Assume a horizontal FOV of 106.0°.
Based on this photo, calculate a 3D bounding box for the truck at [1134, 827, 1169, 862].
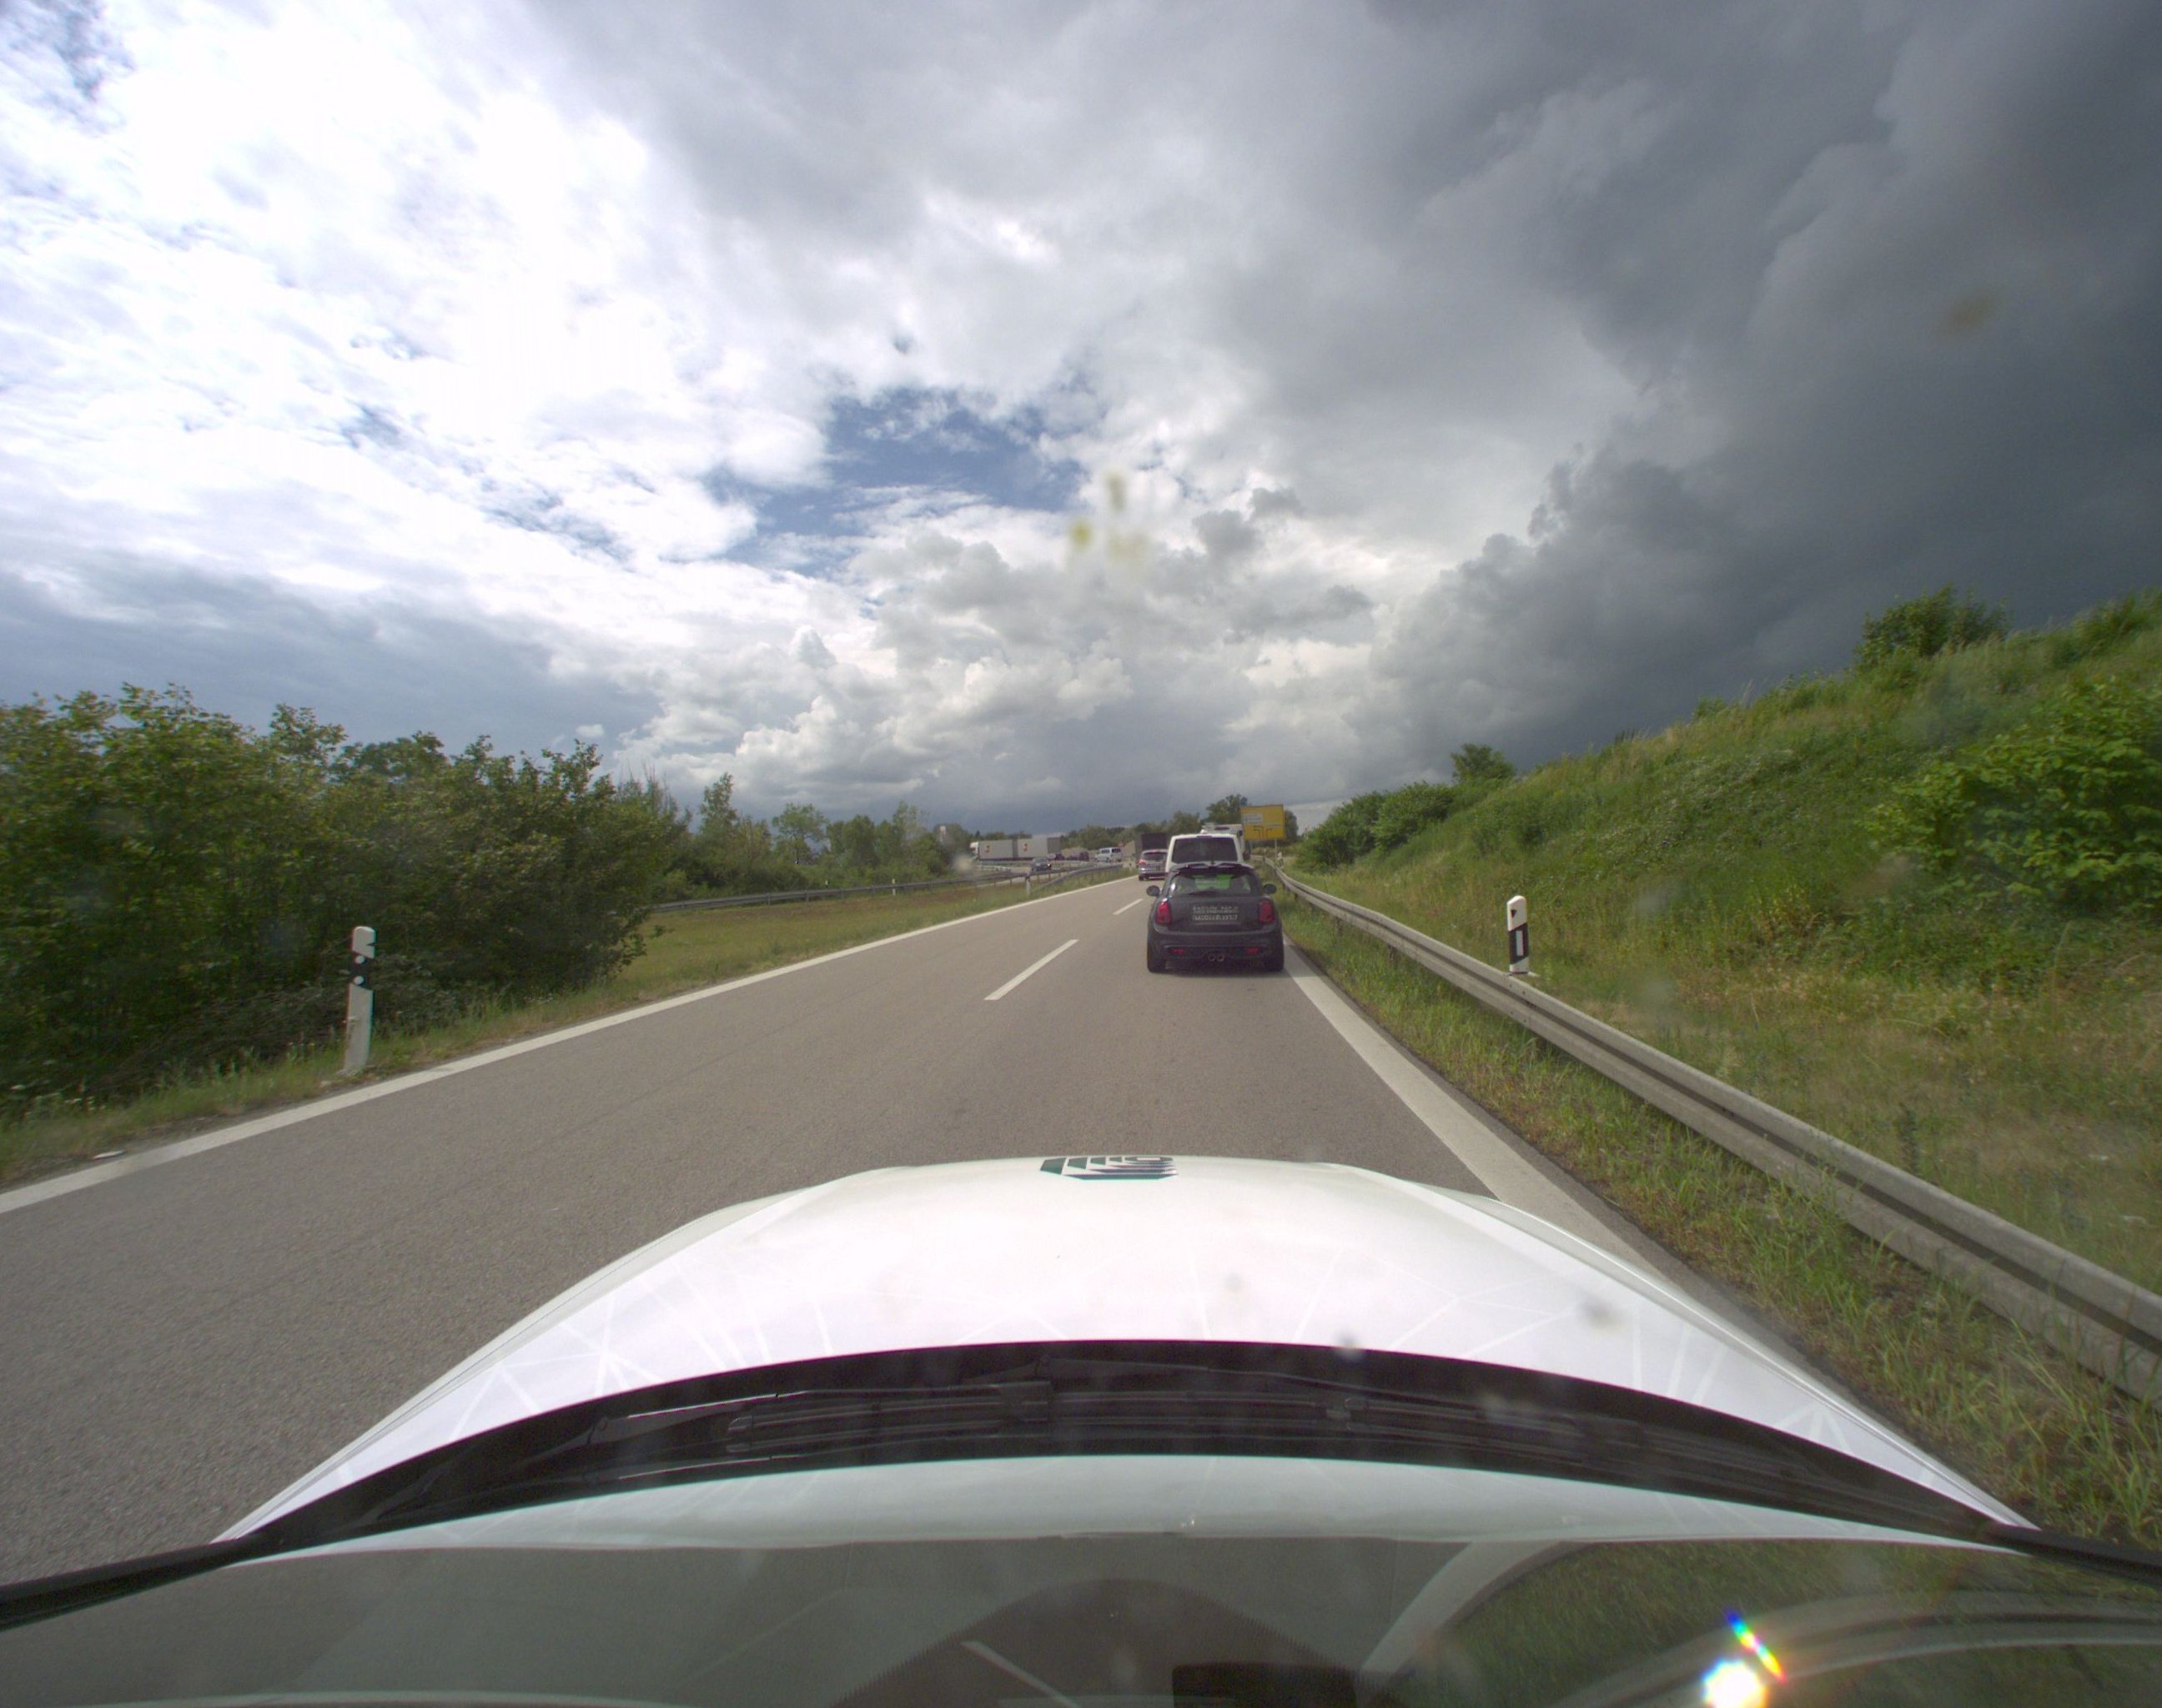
[{"bbox_3d":[6.624,-0.845,77.900,2.553,3.168,7.463,0,-1,-1],"label":"truck"}]

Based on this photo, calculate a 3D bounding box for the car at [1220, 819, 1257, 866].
[{"bbox_3d":[11.116,-0.684,56.947,2.295,3.069,6.684,-1,-1,13],"label":"car"}]

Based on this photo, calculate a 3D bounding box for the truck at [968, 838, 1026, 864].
[{"bbox_3d":[-13.487,-0.428,130.189,9.900,3.976,2.863,-1,-1,37],"label":"truck"}]

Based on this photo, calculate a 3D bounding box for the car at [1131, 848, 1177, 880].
[{"bbox_3d":[4.045,0.551,44.398,2.008,1.577,4.600,-2,-1,10],"label":"car"}]

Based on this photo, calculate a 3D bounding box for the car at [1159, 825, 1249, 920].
[{"bbox_3d":[3.045,0.422,19.731,1.899,2.045,4.193,-1,-1,10],"label":"car"}]

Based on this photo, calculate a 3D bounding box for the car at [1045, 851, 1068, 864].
[{"bbox_3d":[-3.486,0.524,116.201,1.822,1.756,3.966,0,-1,-26],"label":"car"}]

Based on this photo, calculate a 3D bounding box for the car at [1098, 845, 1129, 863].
[{"bbox_3d":[4.353,0.014,110.613,2.300,2.260,5.067,0,-1,-24],"label":"car"}]

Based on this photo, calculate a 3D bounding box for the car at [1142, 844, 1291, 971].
[{"bbox_3d":[1.861,0.665,11.843,1.790,1.546,3.745,-1,0,6],"label":"car"}]

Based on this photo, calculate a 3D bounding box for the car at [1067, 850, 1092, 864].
[{"bbox_3d":[-0.242,0.446,118.191,1.931,1.838,4.280,0,-1,-26],"label":"car"}]

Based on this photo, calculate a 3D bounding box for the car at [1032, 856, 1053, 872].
[{"bbox_3d":[-4.344,1.103,91.714,1.761,1.593,3.983,-4,-1,-12],"label":"car"}]

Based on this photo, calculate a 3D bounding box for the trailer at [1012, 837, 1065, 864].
[{"bbox_3d":[-6.576,-0.517,124.101,3.063,3.898,8.664,1,-2,-44],"label":"trailer"}]

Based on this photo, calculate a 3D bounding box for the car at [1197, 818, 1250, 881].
[{"bbox_3d":[6.492,-0.129,37.132,2.198,2.623,5.549,-1,-1,10],"label":"car"}]
